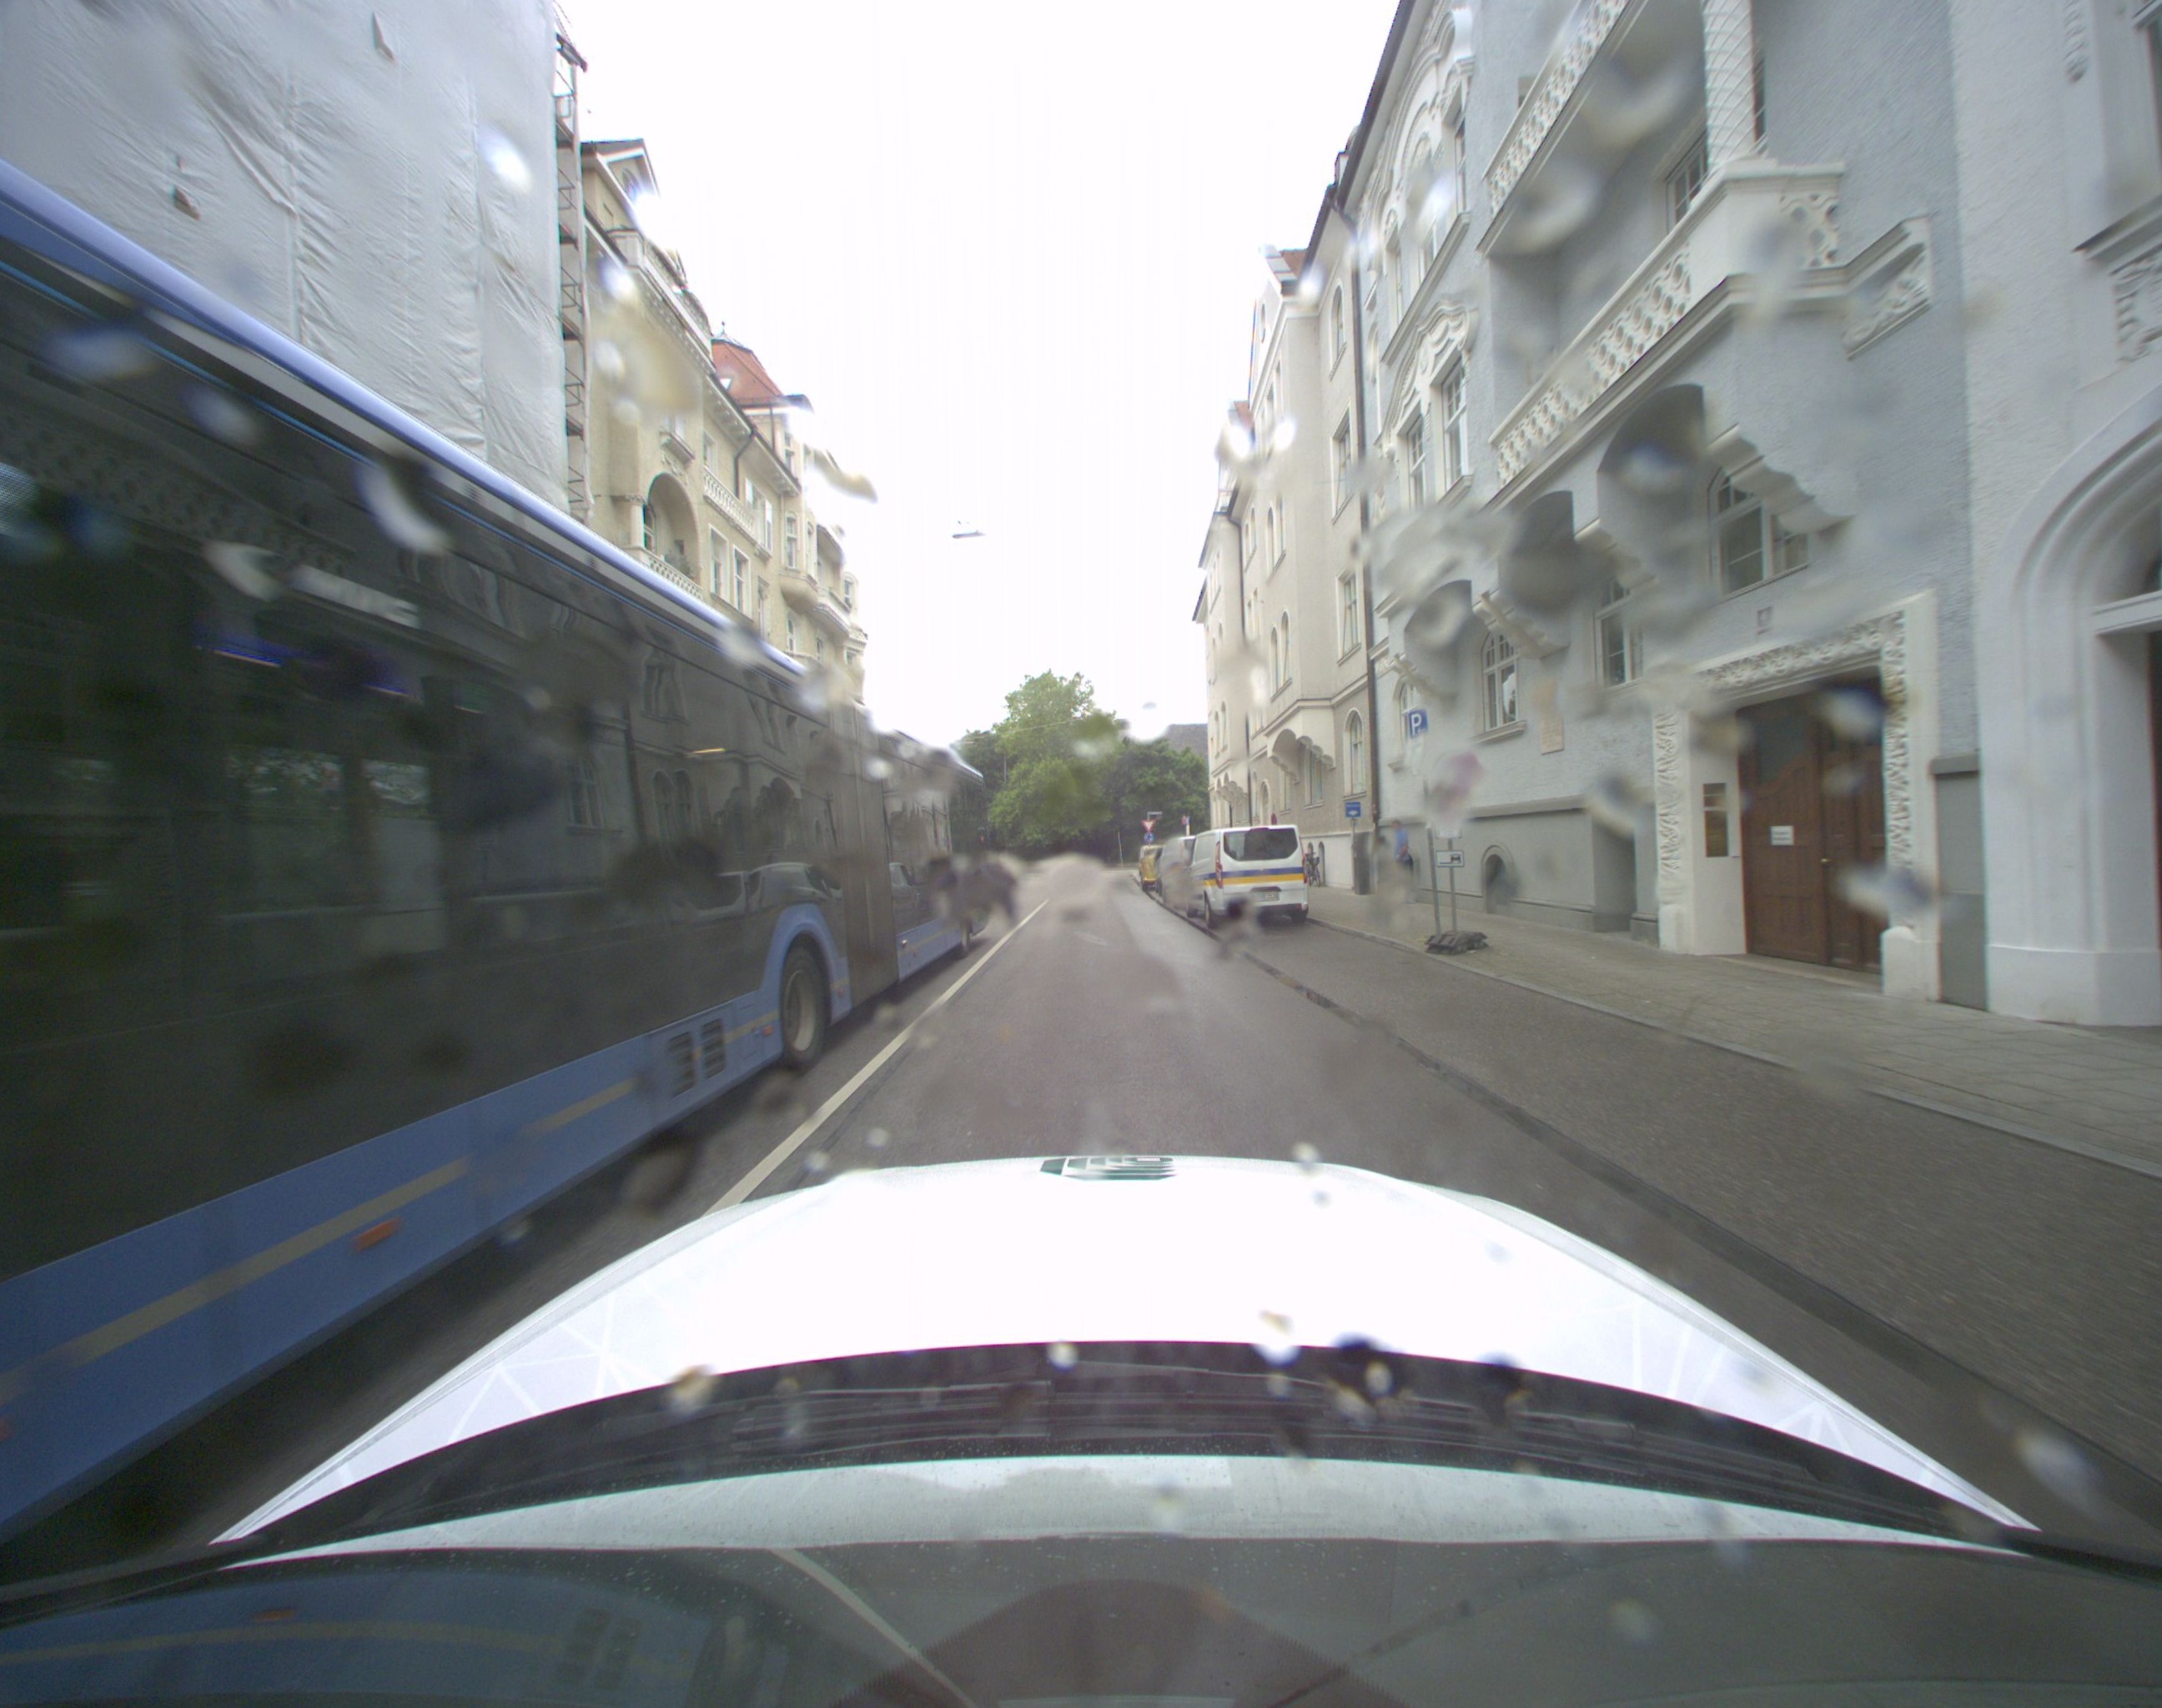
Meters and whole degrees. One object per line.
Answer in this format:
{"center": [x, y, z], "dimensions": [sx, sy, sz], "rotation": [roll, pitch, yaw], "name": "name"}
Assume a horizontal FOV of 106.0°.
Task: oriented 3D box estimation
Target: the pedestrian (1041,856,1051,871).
{"center": [-3.247, 0.887, 76.170], "dimensions": [0.766, 1.356, 1.132], "rotation": [-2, 0, 3], "name": "pedestrian"}

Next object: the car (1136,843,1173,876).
{"center": [4.770, 0.325, 53.506], "dimensions": [1.932, 1.922, 5.375], "rotation": [-3, 0, 1], "name": "car"}

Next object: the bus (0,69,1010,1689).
{"center": [-3.480, 0.082, 7.225], "dimensions": [3.159, 3.212, 18.068], "rotation": [-4, 0, 2], "name": "bus"}

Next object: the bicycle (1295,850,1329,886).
{"center": [7.698, 0.457, 27.198], "dimensions": [0.663, 1.133, 1.723], "rotation": [-2, 0, 2], "name": "bicycle"}

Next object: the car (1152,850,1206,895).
{"center": [3.549, 0.635, 29.905], "dimensions": [1.627, 1.514, 3.887], "rotation": [-2, 0, 2], "name": "car"}

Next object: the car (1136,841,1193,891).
{"center": [3.499, 0.480, 34.781], "dimensions": [1.986, 1.918, 4.572], "rotation": [-2, 0, 1], "name": "car"}

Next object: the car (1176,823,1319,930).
{"center": [3.403, 0.418, 17.661], "dimensions": [1.988, 1.918, 4.876], "rotation": [-2, 0, -1], "name": "car"}

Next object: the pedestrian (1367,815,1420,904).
{"center": [6.961, 0.122, 18.156], "dimensions": [0.848, 1.903, 0.747], "rotation": [-2, 0, 4], "name": "pedestrian"}

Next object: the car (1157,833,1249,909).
{"center": [3.405, 0.442, 23.690], "dimensions": [1.986, 1.918, 4.887], "rotation": [-2, 0, 1], "name": "car"}
